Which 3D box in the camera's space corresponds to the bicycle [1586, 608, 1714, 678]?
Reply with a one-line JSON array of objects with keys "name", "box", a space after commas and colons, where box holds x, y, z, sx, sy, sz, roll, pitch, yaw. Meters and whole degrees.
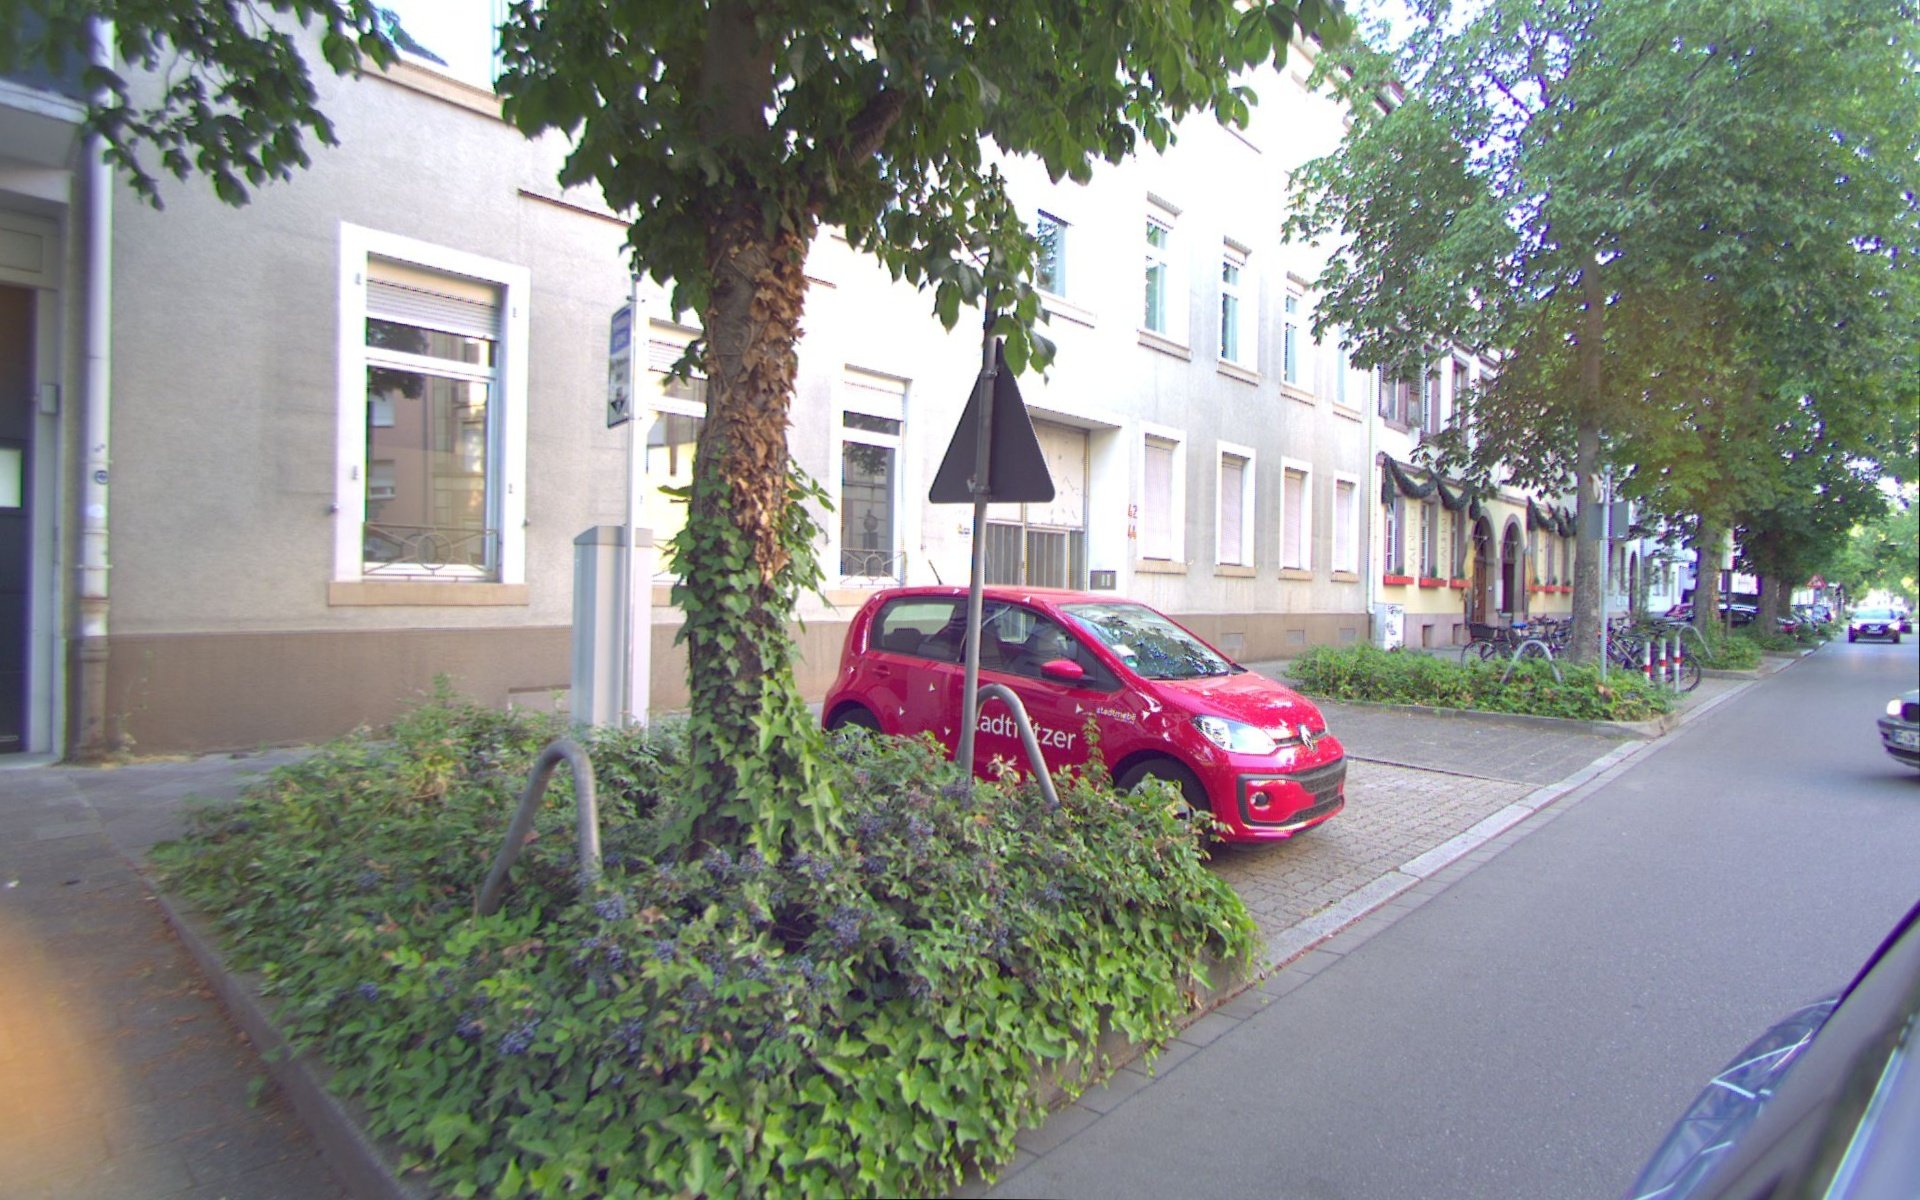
[{"name": "bicycle", "box": [13.416, 0.806, 19.719, 2.019, 1.242, 0.528, 2, 1, 39]}]

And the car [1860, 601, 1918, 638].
[{"name": "car", "box": [42.340, 0.846, 46.096, 1.802, 1.571, 3.935, 2, 1, 45]}]

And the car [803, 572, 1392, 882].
[{"name": "car", "box": [0.743, 0.582, 6.760, 3.608, 1.495, 1.639, 2, 1, 42]}]

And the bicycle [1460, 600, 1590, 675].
[{"name": "bicycle", "box": [10.244, 0.647, 18.385, 2.014, 1.242, 0.529, 2, 1, 33]}]

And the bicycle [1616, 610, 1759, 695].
[{"name": "bicycle", "box": [11.797, 0.827, 16.486, 1.835, 1.242, 0.529, 2, 1, 33]}]

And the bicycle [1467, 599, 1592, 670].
[{"name": "bicycle", "box": [10.876, 0.635, 19.379, 2.017, 1.242, 0.529, 2, 1, 37]}]

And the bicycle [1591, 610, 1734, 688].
[{"name": "bicycle", "box": [12.299, 0.829, 17.772, 2.019, 1.242, 0.528, 2, 1, 39]}]

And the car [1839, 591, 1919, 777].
[{"name": "car", "box": [9.721, 0.697, 7.617, 4.366, 1.460, 1.707, 1, 1, 11]}]

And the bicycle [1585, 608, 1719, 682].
[{"name": "bicycle", "box": [12.935, 0.815, 18.966, 2.019, 1.242, 0.528, 2, 1, 39]}]

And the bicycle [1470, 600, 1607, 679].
[{"name": "bicycle", "box": [10.029, 0.655, 17.575, 2.014, 1.242, 0.529, 2, 1, 33]}]

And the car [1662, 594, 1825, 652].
[{"name": "car", "box": [26.561, 0.732, 34.403, 4.232, 1.761, 1.715, 2, 1, 43]}]
